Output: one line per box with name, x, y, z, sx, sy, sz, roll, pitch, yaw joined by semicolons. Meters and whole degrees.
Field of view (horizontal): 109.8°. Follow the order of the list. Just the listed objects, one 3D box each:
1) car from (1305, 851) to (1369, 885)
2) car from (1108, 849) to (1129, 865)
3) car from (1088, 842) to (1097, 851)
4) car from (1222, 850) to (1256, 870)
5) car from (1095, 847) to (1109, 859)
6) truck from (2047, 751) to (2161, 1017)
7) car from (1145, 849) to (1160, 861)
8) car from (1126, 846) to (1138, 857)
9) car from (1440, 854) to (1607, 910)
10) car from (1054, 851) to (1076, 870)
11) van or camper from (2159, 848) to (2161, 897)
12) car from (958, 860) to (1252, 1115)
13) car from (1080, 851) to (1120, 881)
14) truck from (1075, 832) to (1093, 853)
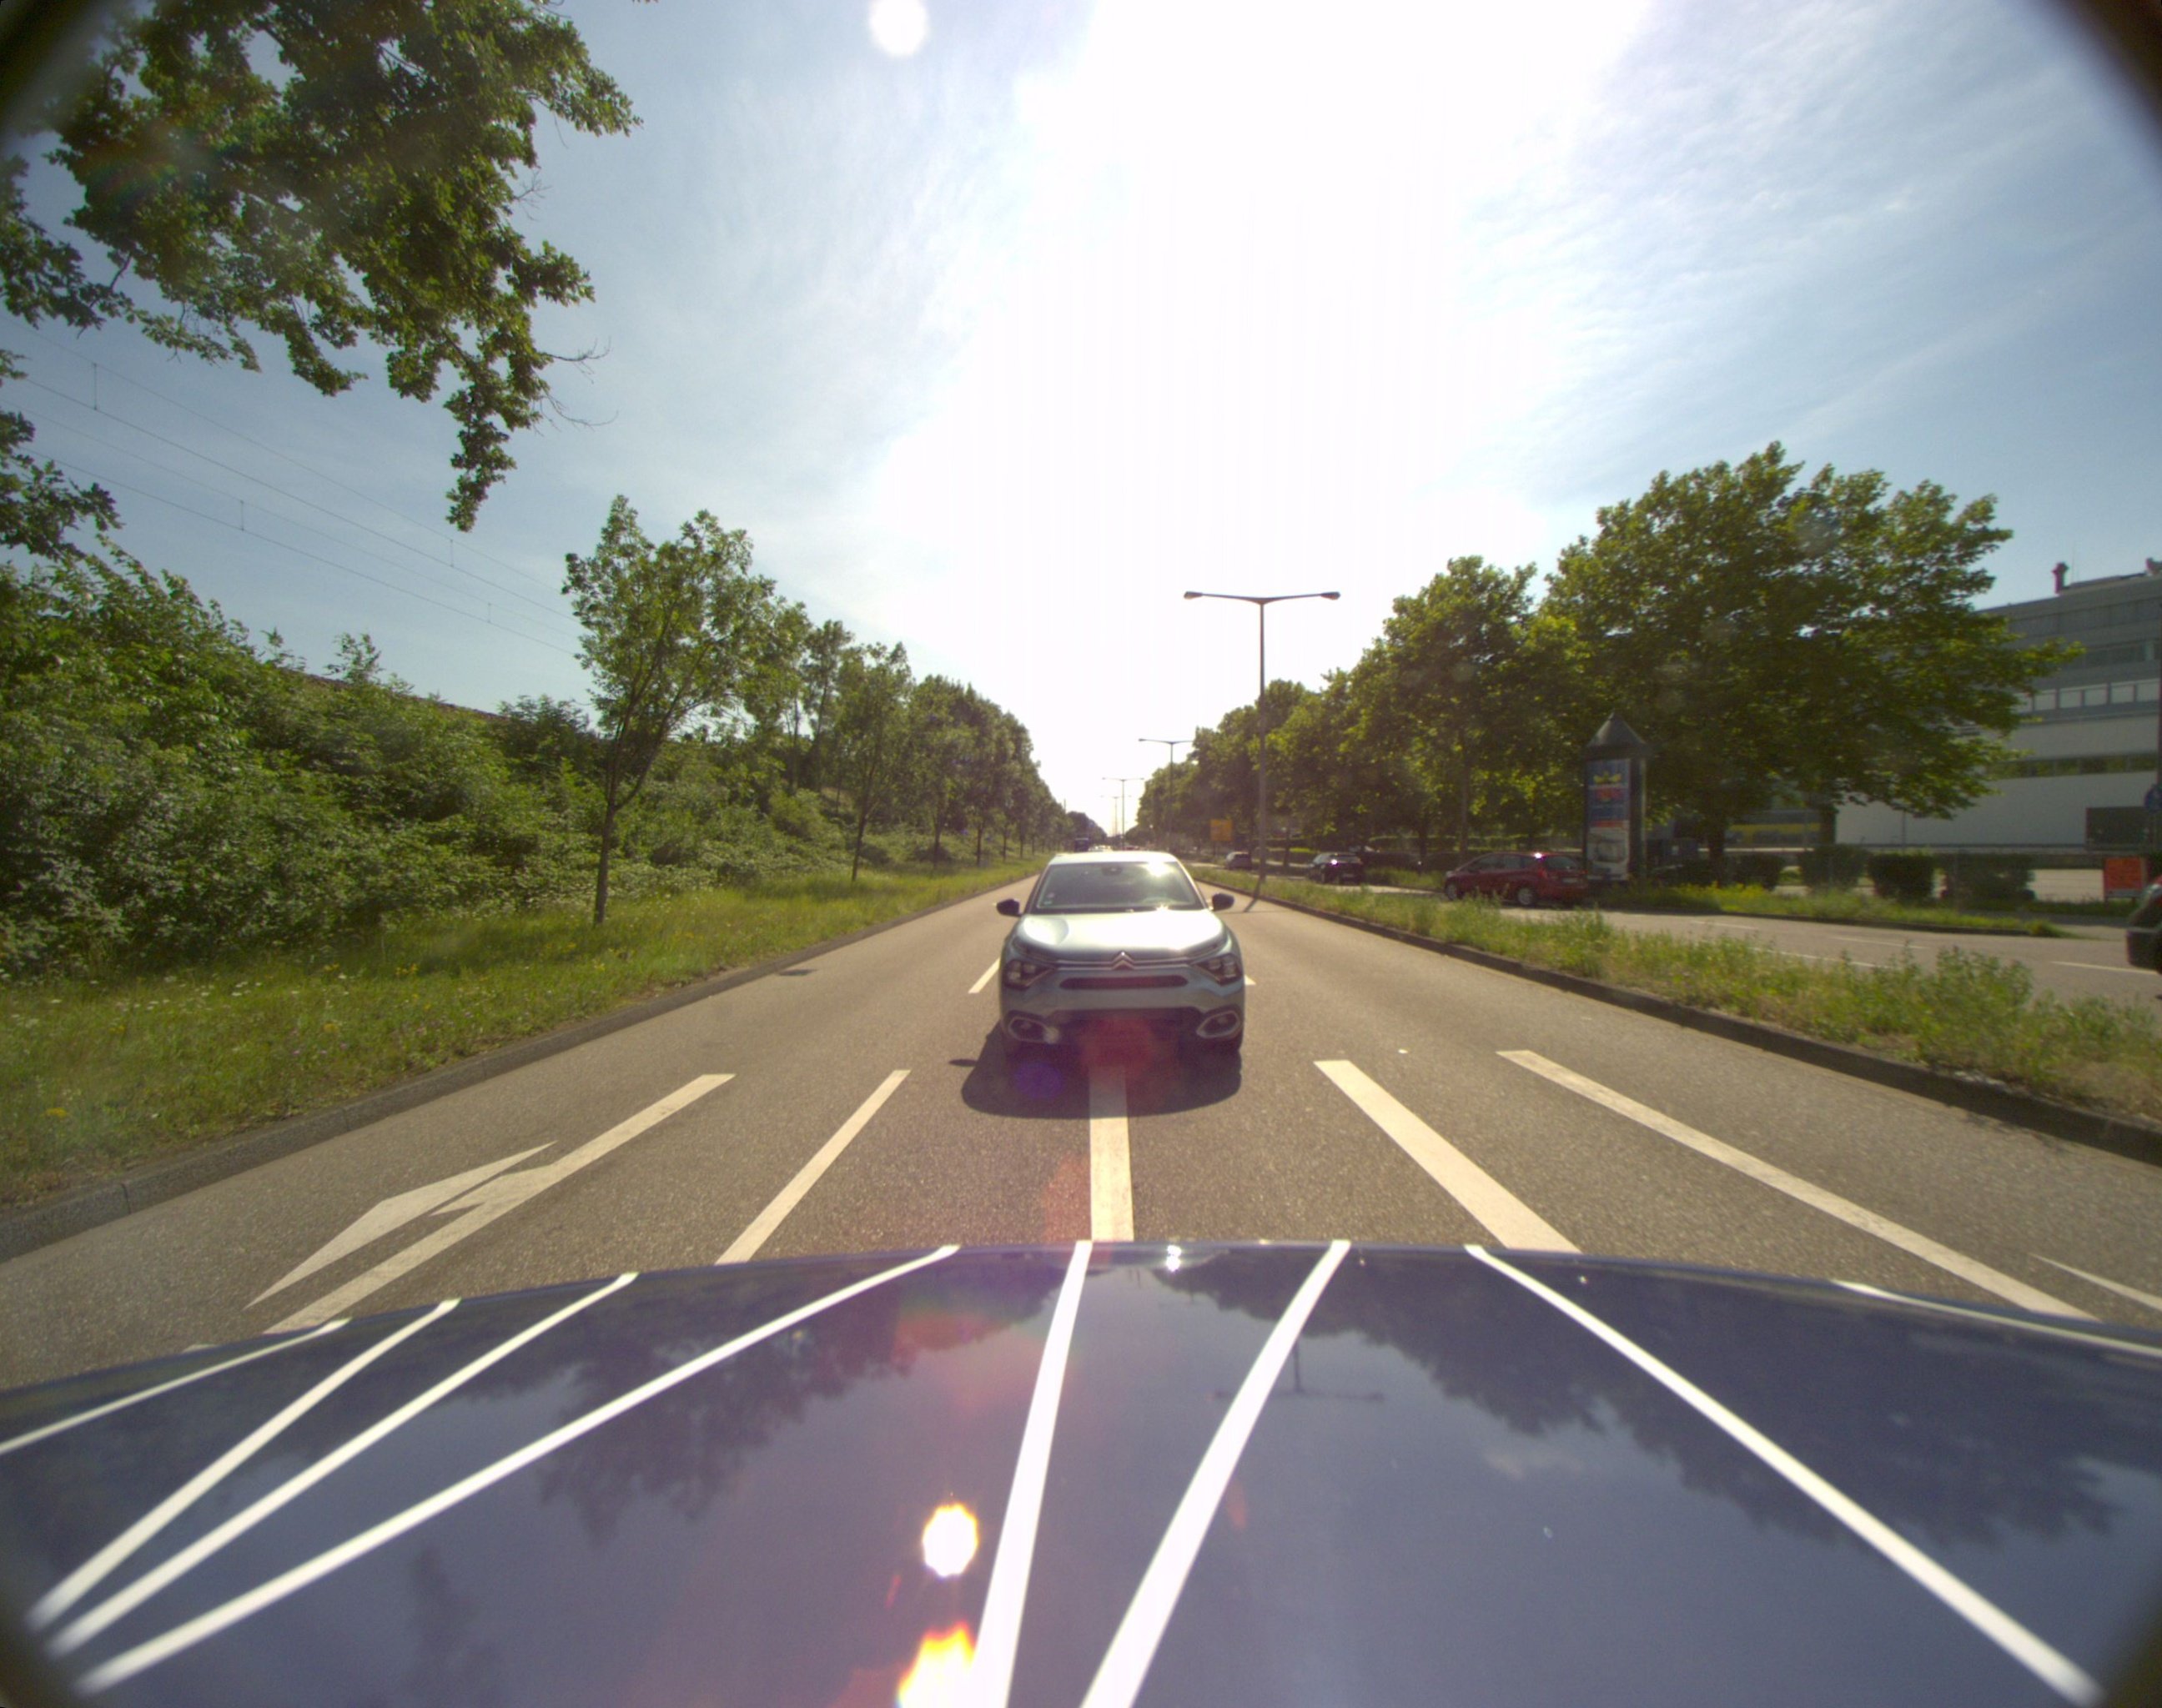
car;11.619;0.604;34.730;1.843;1.414;3.895;1;1;5
car;3.463;0.257;71.430;1.730;1.354;4.067;-2;1;0
car;2.652;-1.703;170.372;1.998;2.002;4.000;-1;1;1
car;12.516;0.448;60.393;1.844;1.414;4.221;1;0;0
car;2.719;-0.173;98.026;1.826;1.521;4.547;-1;0;2
truck;10.875;0.295;4.301;2.144;2.461;7.130;-1;1;5
car;11.551;0.153;123.240;1.998;2.002;4.000;-1;1;1
car;9.049;-0.445;135.492;1.998;2.002;4.000;-1;1;1
car;12.223;0.725;21.258;1.855;1.426;3.761;0;0;-18
car;-1.366;0.542;62.933;1.705;1.429;3.677;-2;1;-2
van or camper;39.480;0.643;25.016;2.004;1.682;4.500;-1;1;-37
car;0.234;0.859;7.127;1.826;1.521;4.752;-1;0;2
car;0.984;0.613;40.334;1.998;1.492;4.000;-1;0;1
truck;0.497;-1.796;122.663;2.775;3.248;7.482;0;1;1
